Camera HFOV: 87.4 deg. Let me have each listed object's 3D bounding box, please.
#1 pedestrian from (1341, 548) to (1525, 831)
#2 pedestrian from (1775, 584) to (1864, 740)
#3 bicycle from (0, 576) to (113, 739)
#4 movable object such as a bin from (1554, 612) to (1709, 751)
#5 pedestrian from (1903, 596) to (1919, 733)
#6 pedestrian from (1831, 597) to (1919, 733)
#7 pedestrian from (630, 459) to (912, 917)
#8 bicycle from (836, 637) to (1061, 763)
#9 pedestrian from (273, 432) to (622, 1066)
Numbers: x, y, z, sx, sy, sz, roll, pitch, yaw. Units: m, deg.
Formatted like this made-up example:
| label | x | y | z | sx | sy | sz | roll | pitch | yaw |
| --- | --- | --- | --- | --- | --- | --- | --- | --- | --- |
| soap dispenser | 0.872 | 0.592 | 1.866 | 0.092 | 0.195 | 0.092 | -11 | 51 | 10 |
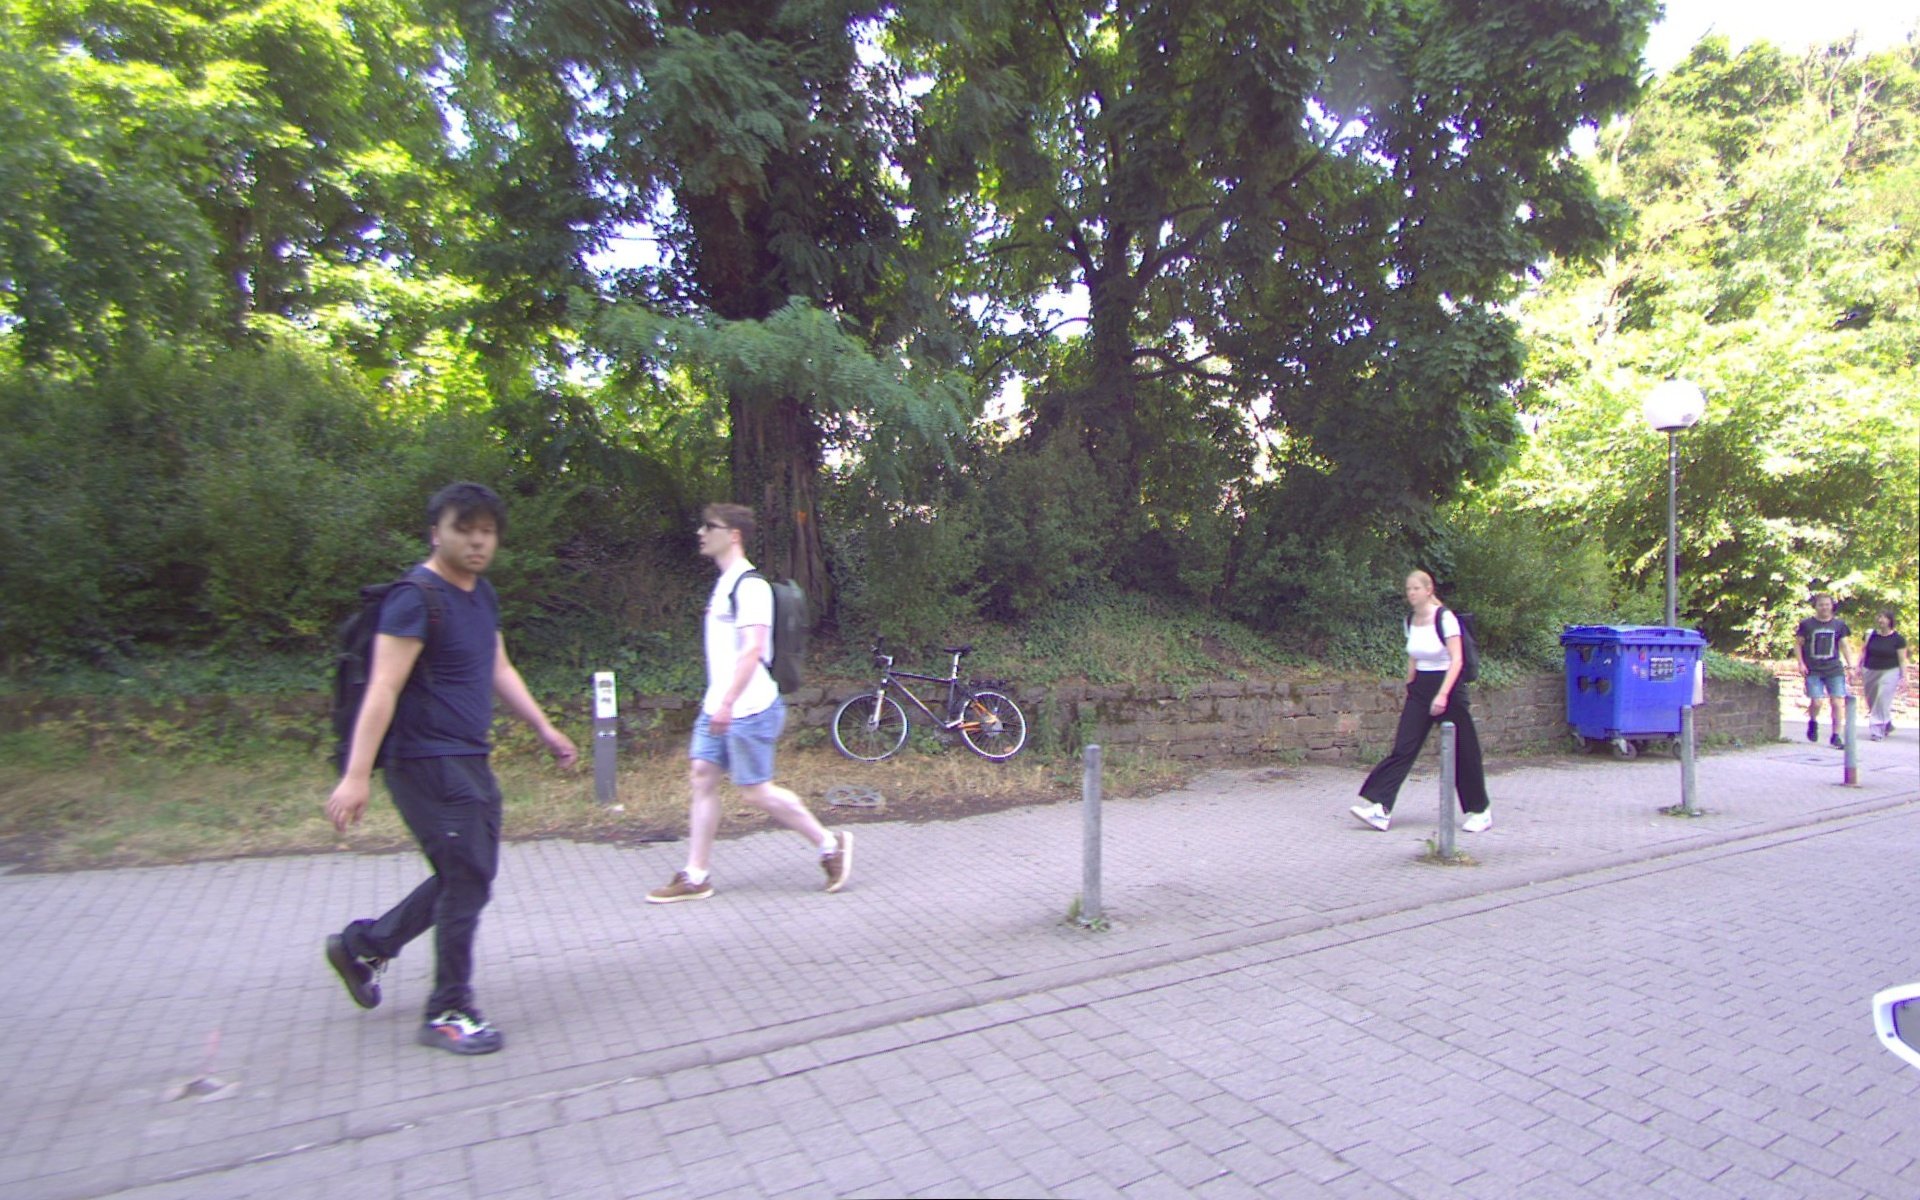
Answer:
| label | x | y | z | sx | sy | sz | roll | pitch | yaw |
| --- | --- | --- | --- | --- | --- | --- | --- | --- | --- |
| pedestrian | 3.187 | 0.554 | 6.772 | 0.992 | 1.751 | 0.678 | 0 | 1 | -35 |
| pedestrian | 10.201 | 0.708 | 11.914 | 0.675 | 1.751 | 1.014 | 2 | 0 | 45 |
| bicycle | -6.870 | 0.364 | 6.841 | 1.669 | 1.061 | 0.473 | 2 | 2 | -9 |
| movable object such as a bin | 7.056 | 0.833 | 10.573 | 1.220 | 1.354 | 0.708 | 1 | 3 | -21 |
| pedestrian | 12.064 | 0.798 | 12.195 | 0.905 | 1.642 | 0.678 | 2 | 0 | -35 |
| pedestrian | 11.717 | 0.807 | 12.800 | 0.969 | 1.642 | 0.678 | 2 | 0 | -35 |
| pedestrian | -0.899 | 0.377 | 4.781 | 1.072 | 1.906 | 0.719 | 2 | 0 | -35 |
| bicycle | -0.088 | 0.799 | 8.031 | 1.711 | 0.922 | 0.421 | 3 | 0 | -16 |
| pedestrian | -1.634 | 0.415 | 3.274 | 0.892 | 1.747 | 0.681 | 1 | 1 | -27 |
